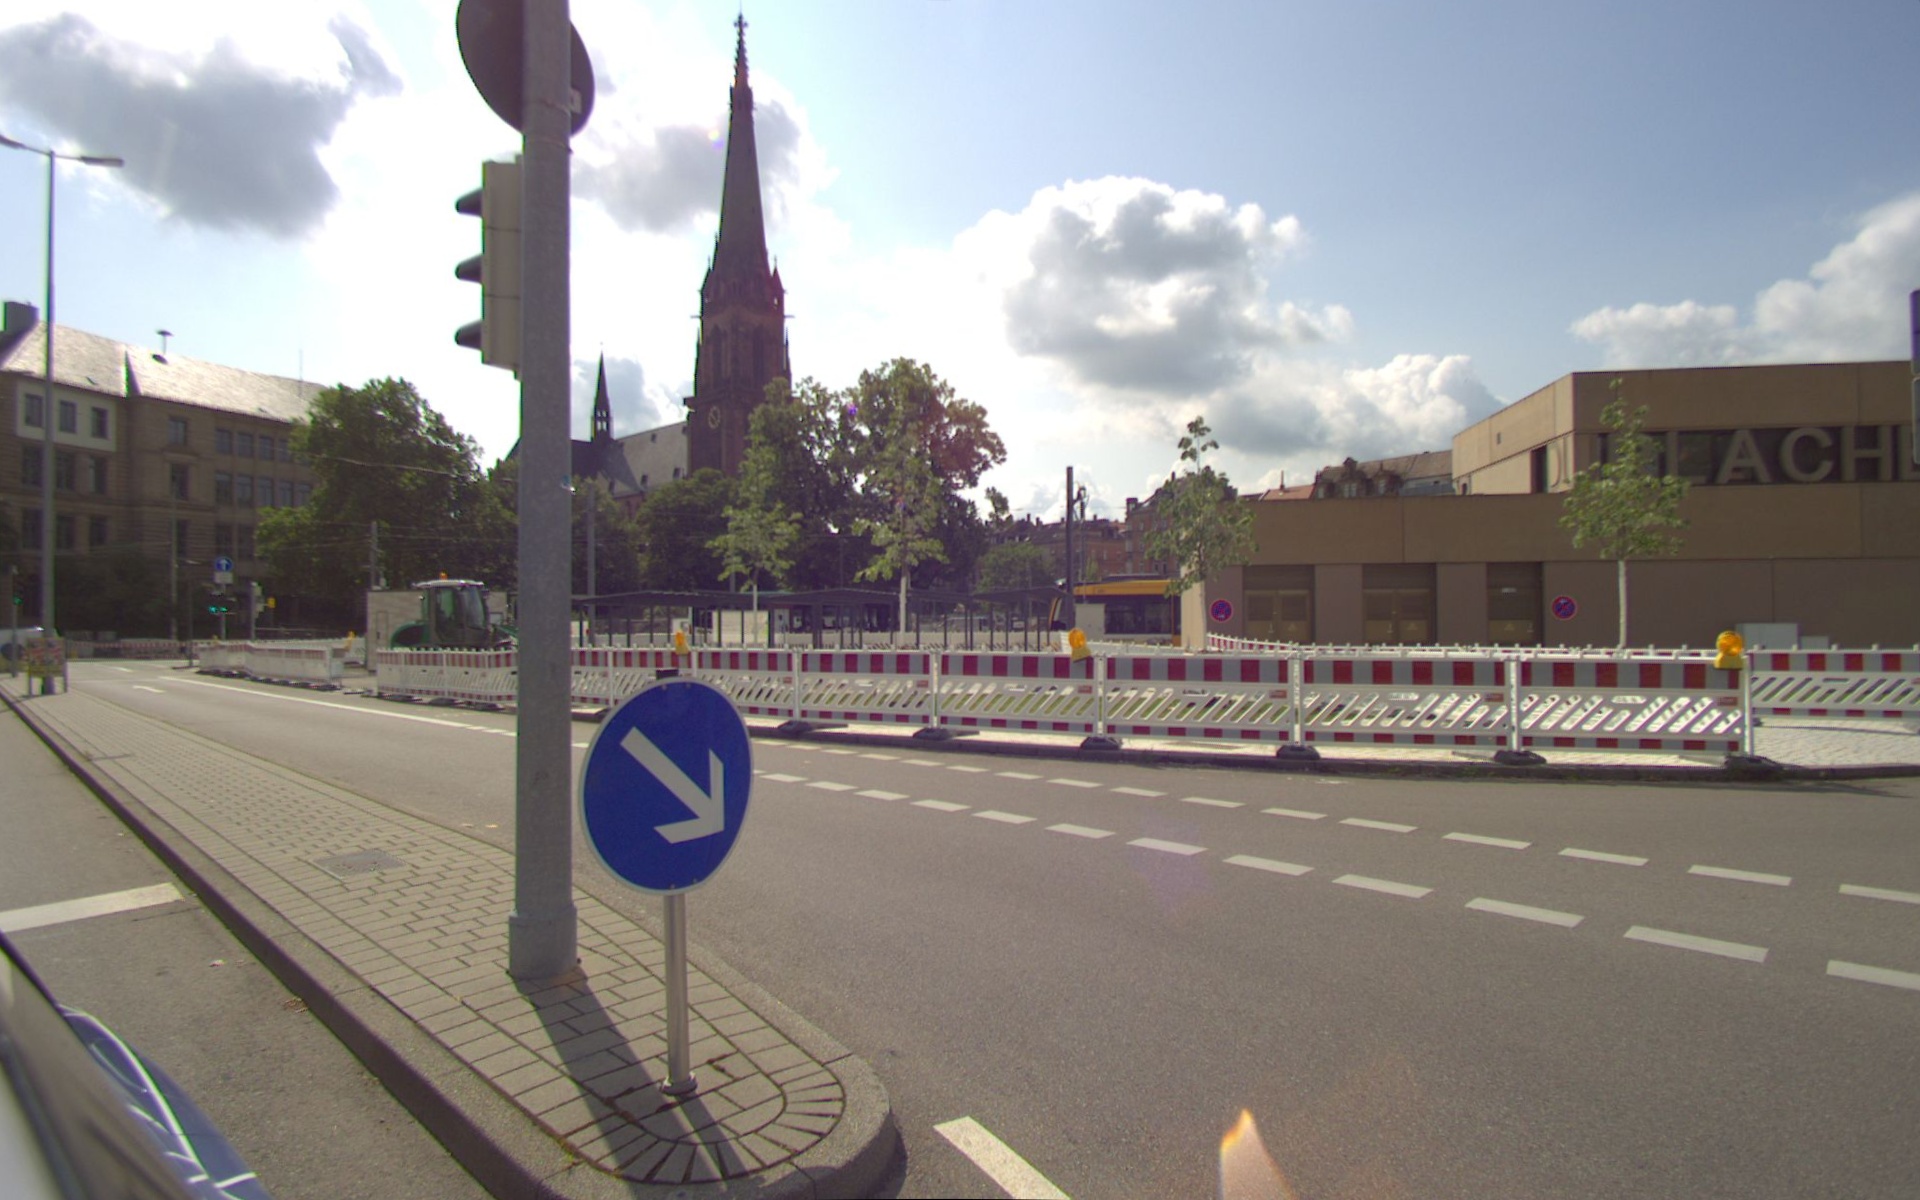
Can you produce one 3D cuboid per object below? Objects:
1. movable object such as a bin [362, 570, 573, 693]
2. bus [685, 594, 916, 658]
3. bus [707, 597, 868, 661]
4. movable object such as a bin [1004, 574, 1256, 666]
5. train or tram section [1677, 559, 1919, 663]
[{"bbox_3d":[-12.391,0.799,25.685,4.390,2.972,1.999,-1,-2,1],"label":"movable object such as a bin"},{"bbox_3d":[-8.489,1.426,54.253,11.941,3.287,2.984,-1,-2,10],"label":"bus"},{"bbox_3d":[-8.704,1.497,51.274,7.676,3.081,2.367,-1,-2,10],"label":"bus"},{"bbox_3d":[6.751,0.866,40.792,9.584,3.450,3.011,-1,-2,11],"label":"movable object such as a bin"},{"bbox_3d":[33.205,0.406,36.214,12.275,3.599,2.660,0,-1,10],"label":"train or tram section"}]
